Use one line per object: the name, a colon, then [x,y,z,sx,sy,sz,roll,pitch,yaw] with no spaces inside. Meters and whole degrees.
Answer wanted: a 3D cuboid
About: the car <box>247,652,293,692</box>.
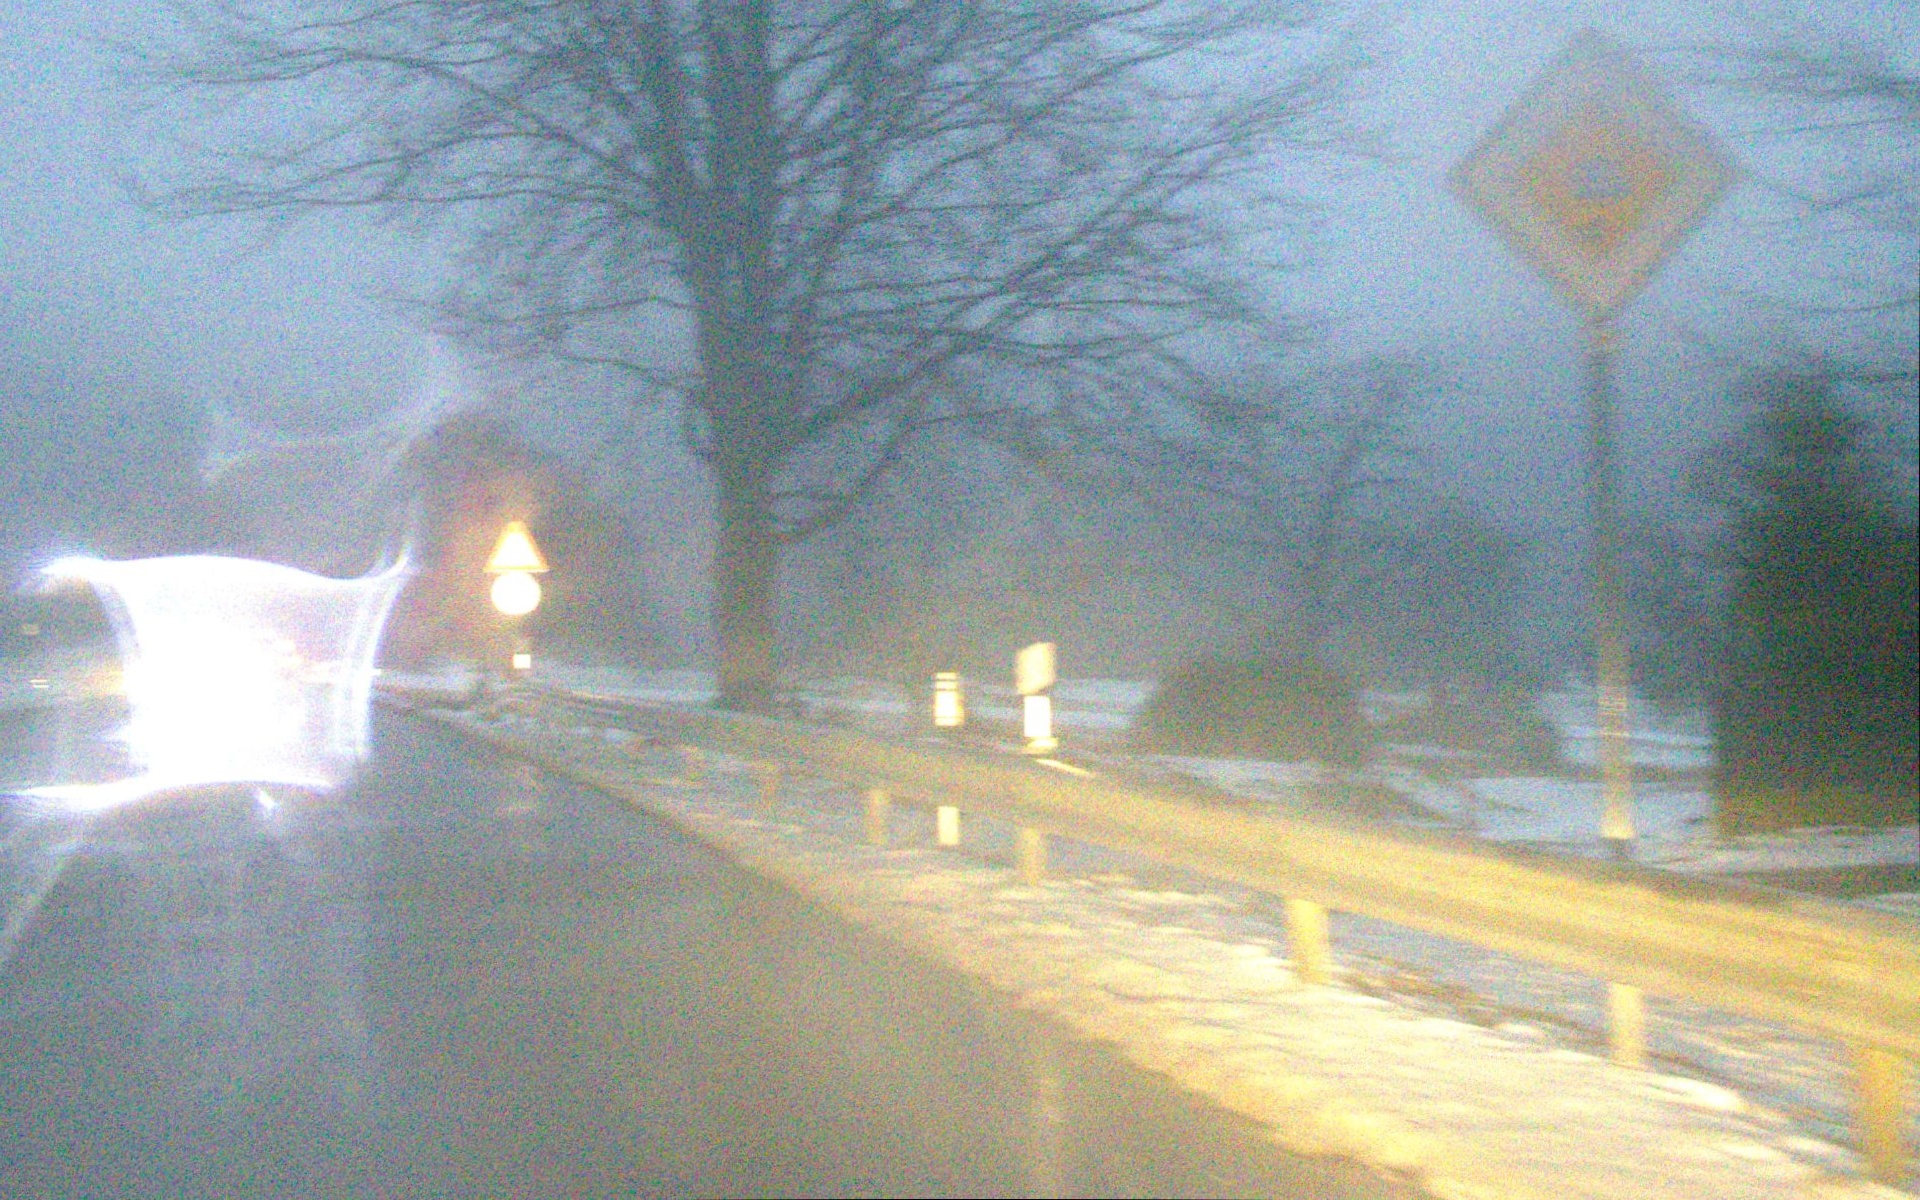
car: [-28.635,2.993,142.729,1.692,1.547,3.857,0,0,-9]
